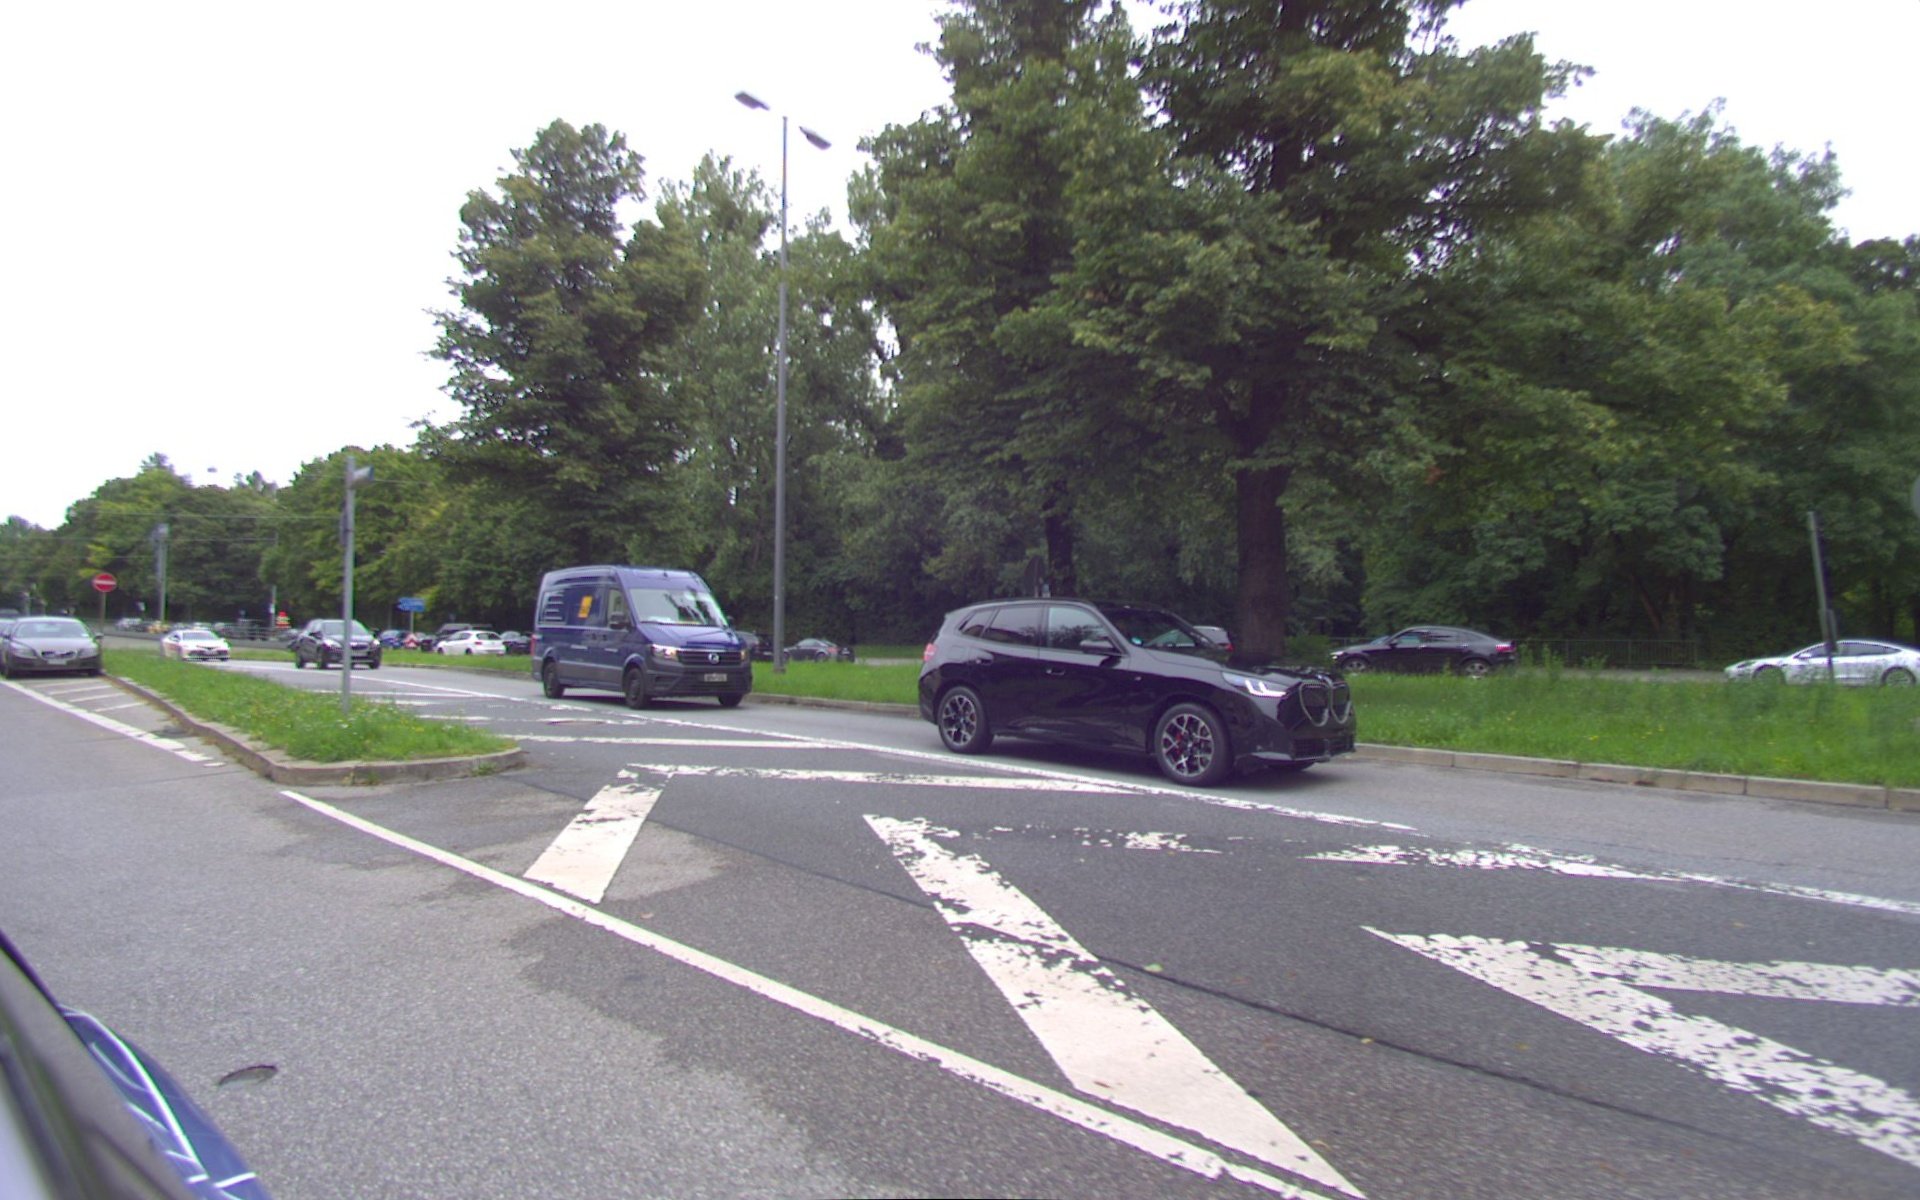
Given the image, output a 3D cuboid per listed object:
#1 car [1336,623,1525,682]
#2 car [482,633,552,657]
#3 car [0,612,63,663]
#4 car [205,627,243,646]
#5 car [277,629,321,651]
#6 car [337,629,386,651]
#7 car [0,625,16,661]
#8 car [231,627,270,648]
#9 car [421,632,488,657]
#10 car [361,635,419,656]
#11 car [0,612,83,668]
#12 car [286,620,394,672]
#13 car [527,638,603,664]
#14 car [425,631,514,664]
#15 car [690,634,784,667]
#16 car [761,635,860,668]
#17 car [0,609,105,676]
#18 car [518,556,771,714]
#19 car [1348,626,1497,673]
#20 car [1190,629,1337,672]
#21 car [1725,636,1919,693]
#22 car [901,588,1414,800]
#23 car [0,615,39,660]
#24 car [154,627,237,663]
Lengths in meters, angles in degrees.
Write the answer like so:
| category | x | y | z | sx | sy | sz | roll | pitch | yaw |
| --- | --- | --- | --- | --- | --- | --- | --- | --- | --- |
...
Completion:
| category | x | y | z | sx | sy | sz | roll | pitch | yaw |
| --- | --- | --- | --- | --- | --- | --- | --- | --- | --- |
| car | 12.324 | 1.357 | 26.782 | 4.361 | 1.457 | 1.882 | -1 | -3 | 24 |
| car | -27.503 | 2.782 | 62.776 | 4.516 | 1.457 | 1.976 | -1 | -3 | 36 |
| car | -31.438 | 1.227 | 33.592 | 4.281 | 1.577 | 1.966 | -1 | -2 | 41 |
| car | -68.983 | 3.406 | 94.835 | 3.996 | 1.759 | 1.843 | -1 | -2 | 39 |
| car | -54.967 | 3.344 | 84.122 | 3.996 | 1.759 | 1.974 | -1 | -2 | 39 |
| car | -45.550 | 3.054 | 77.031 | 3.995 | 1.569 | 1.888 | 0 | -1 | 38 |
| car | -38.669 | 1.676 | 39.750 | 4.278 | 1.380 | 1.744 | -1 | -2 | 39 |
| car | -63.578 | 3.335 | 90.700 | 3.996 | 1.759 | 1.861 | -1 | -2 | 39 |
| car | -33.223 | 2.900 | 66.508 | 4.697 | 1.546 | 1.976 | -1 | -3 | 36 |
| car | -41.431 | 3.283 | 73.566 | 4.308 | 1.457 | 1.976 | -1 | -3 | 35 |
| car | -27.653 | 1.167 | 30.161 | 4.285 | 1.577 | 1.964 | -1 | -3 | 45 |
| car | -20.969 | 1.506 | 34.192 | 4.272 | 1.640 | 1.966 | -1 | -2 | 42 |
| car | -23.218 | 2.984 | 59.433 | 4.516 | 1.457 | 1.976 | -1 | -3 | 36 |
| car | -23.204 | 2.236 | 47.844 | 4.222 | 1.457 | 1.813 | -1 | -3 | 32 |
| car | -10.142 | 2.273 | 45.958 | 4.022 | 1.457 | 1.876 | -1 | -3 | 34 |
| car | -7.022 | 2.398 | 47.410 | 4.516 | 1.457 | 1.976 | -1 | -3 | 36 |
| car | -23.515 | 1.060 | 26.037 | 4.773 | 1.577 | 1.877 | -1 | -3 | 45 |
| car | -6.032 | 0.584 | 18.807 | 2.157 | 2.482 | 5.858 | 2 | -2 | -43 |
| car | 15.400 | 1.645 | 33.750 | 4.404 | 1.457 | 1.981 | -1 | -3 | 29 |
| car | 10.862 | 1.796 | 36.326 | 4.748 | 1.457 | 1.980 | -1 | -3 | 30 |
| car | 24.425 | 1.780 | 28.423 | 4.404 | 1.457 | 1.981 | -1 | -3 | 29 |
| car | 1.690 | 0.810 | 10.088 | 1.890 | 1.598 | 4.835 | 5 | -4 | -42 |
| car | -35.014 | 1.332 | 36.751 | 4.283 | 1.577 | 1.965 | -1 | -3 | 43 |
| car | -35.571 | 2.042 | 47.071 | 4.648 | 1.577 | 1.968 | -1 | -2 | 39 |
